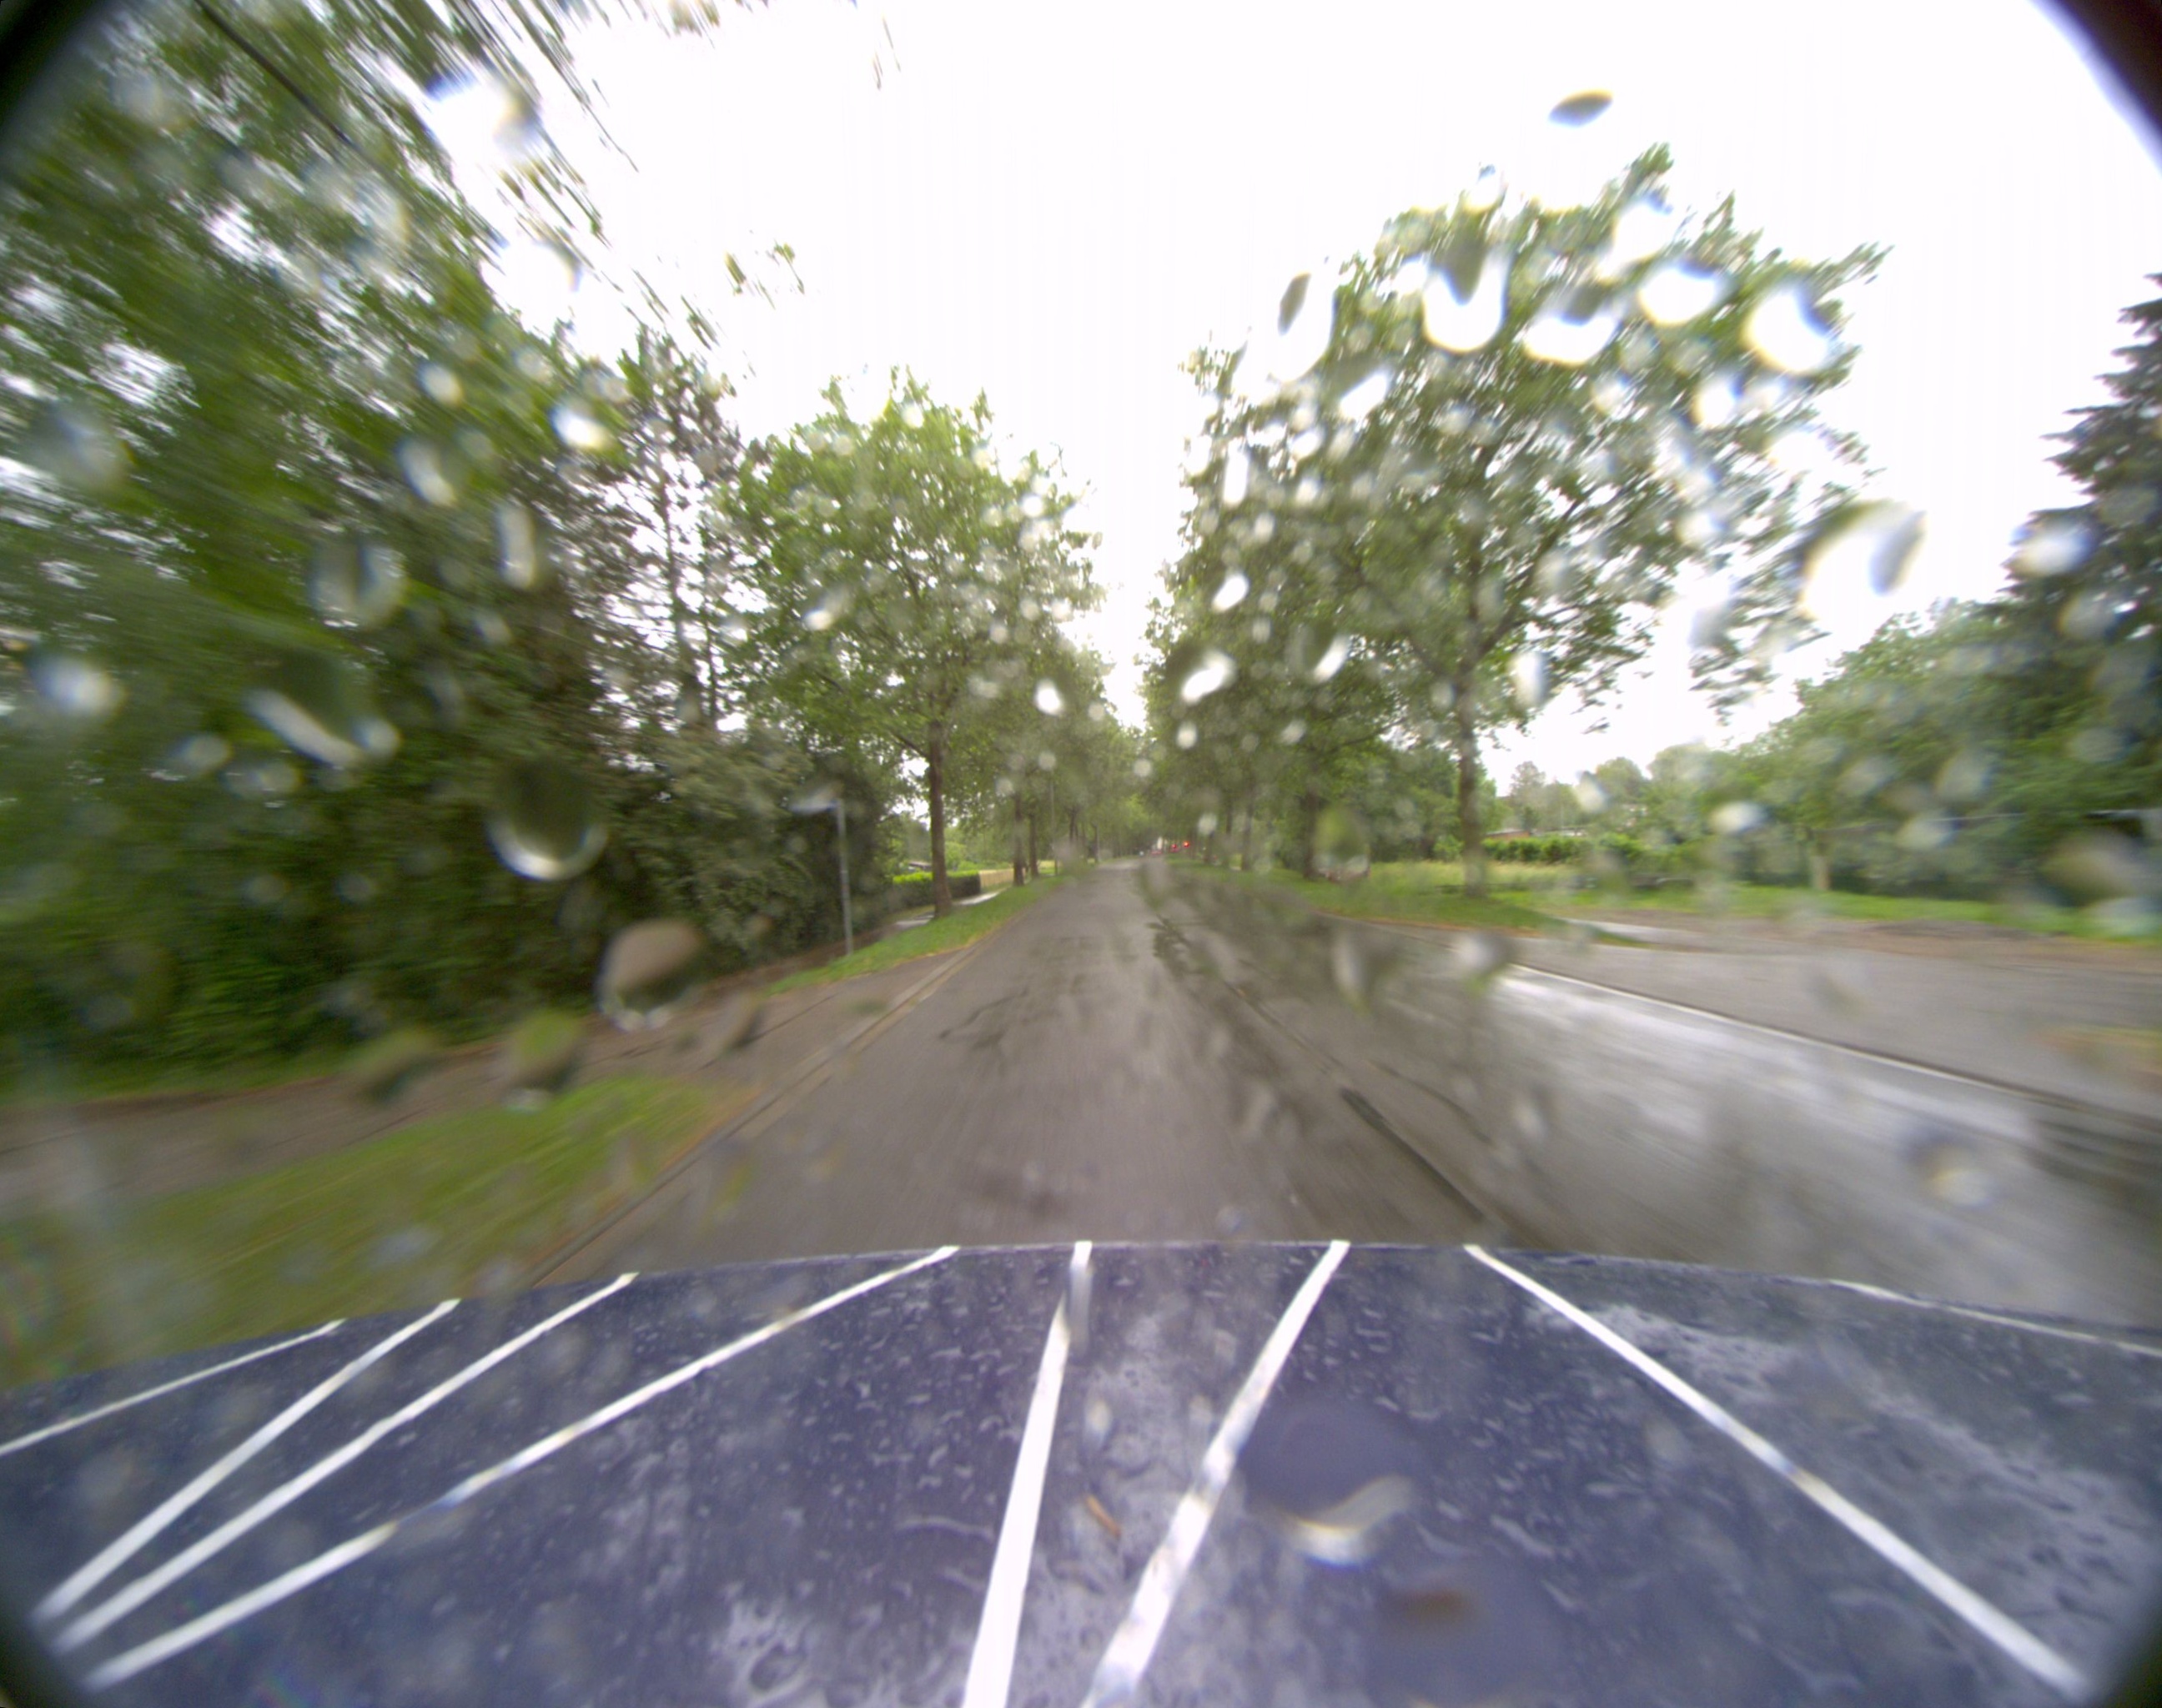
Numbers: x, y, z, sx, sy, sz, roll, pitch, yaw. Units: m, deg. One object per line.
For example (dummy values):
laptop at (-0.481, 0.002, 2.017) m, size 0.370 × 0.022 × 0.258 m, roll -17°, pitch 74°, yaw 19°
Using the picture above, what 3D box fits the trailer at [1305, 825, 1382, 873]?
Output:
trailer at (16.227, -0.342, 47.460) m, size 2.804 × 2.648 × 6.653 m, roll -2°, pitch 1°, yaw 4°

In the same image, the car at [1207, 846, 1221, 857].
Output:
car at (22.541, -0.486, 128.529) m, size 1.896 × 1.672 × 4.004 m, roll -2°, pitch 1°, yaw 17°

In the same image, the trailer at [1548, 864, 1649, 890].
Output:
trailer at (22.088, 0.962, 32.511) m, size 3.082 × 0.939 × 1.768 m, roll -2°, pitch 1°, yaw 2°

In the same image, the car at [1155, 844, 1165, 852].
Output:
car at (15.518, -1.171, 149.500) m, size 1.593 × 1.445 × 3.373 m, roll -2°, pitch 1°, yaw 2°

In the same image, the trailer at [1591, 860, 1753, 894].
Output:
trailer at (22.597, 0.848, 29.215) m, size 4.327 × 1.026 × 2.382 m, roll -2°, pitch 1°, yaw 1°
